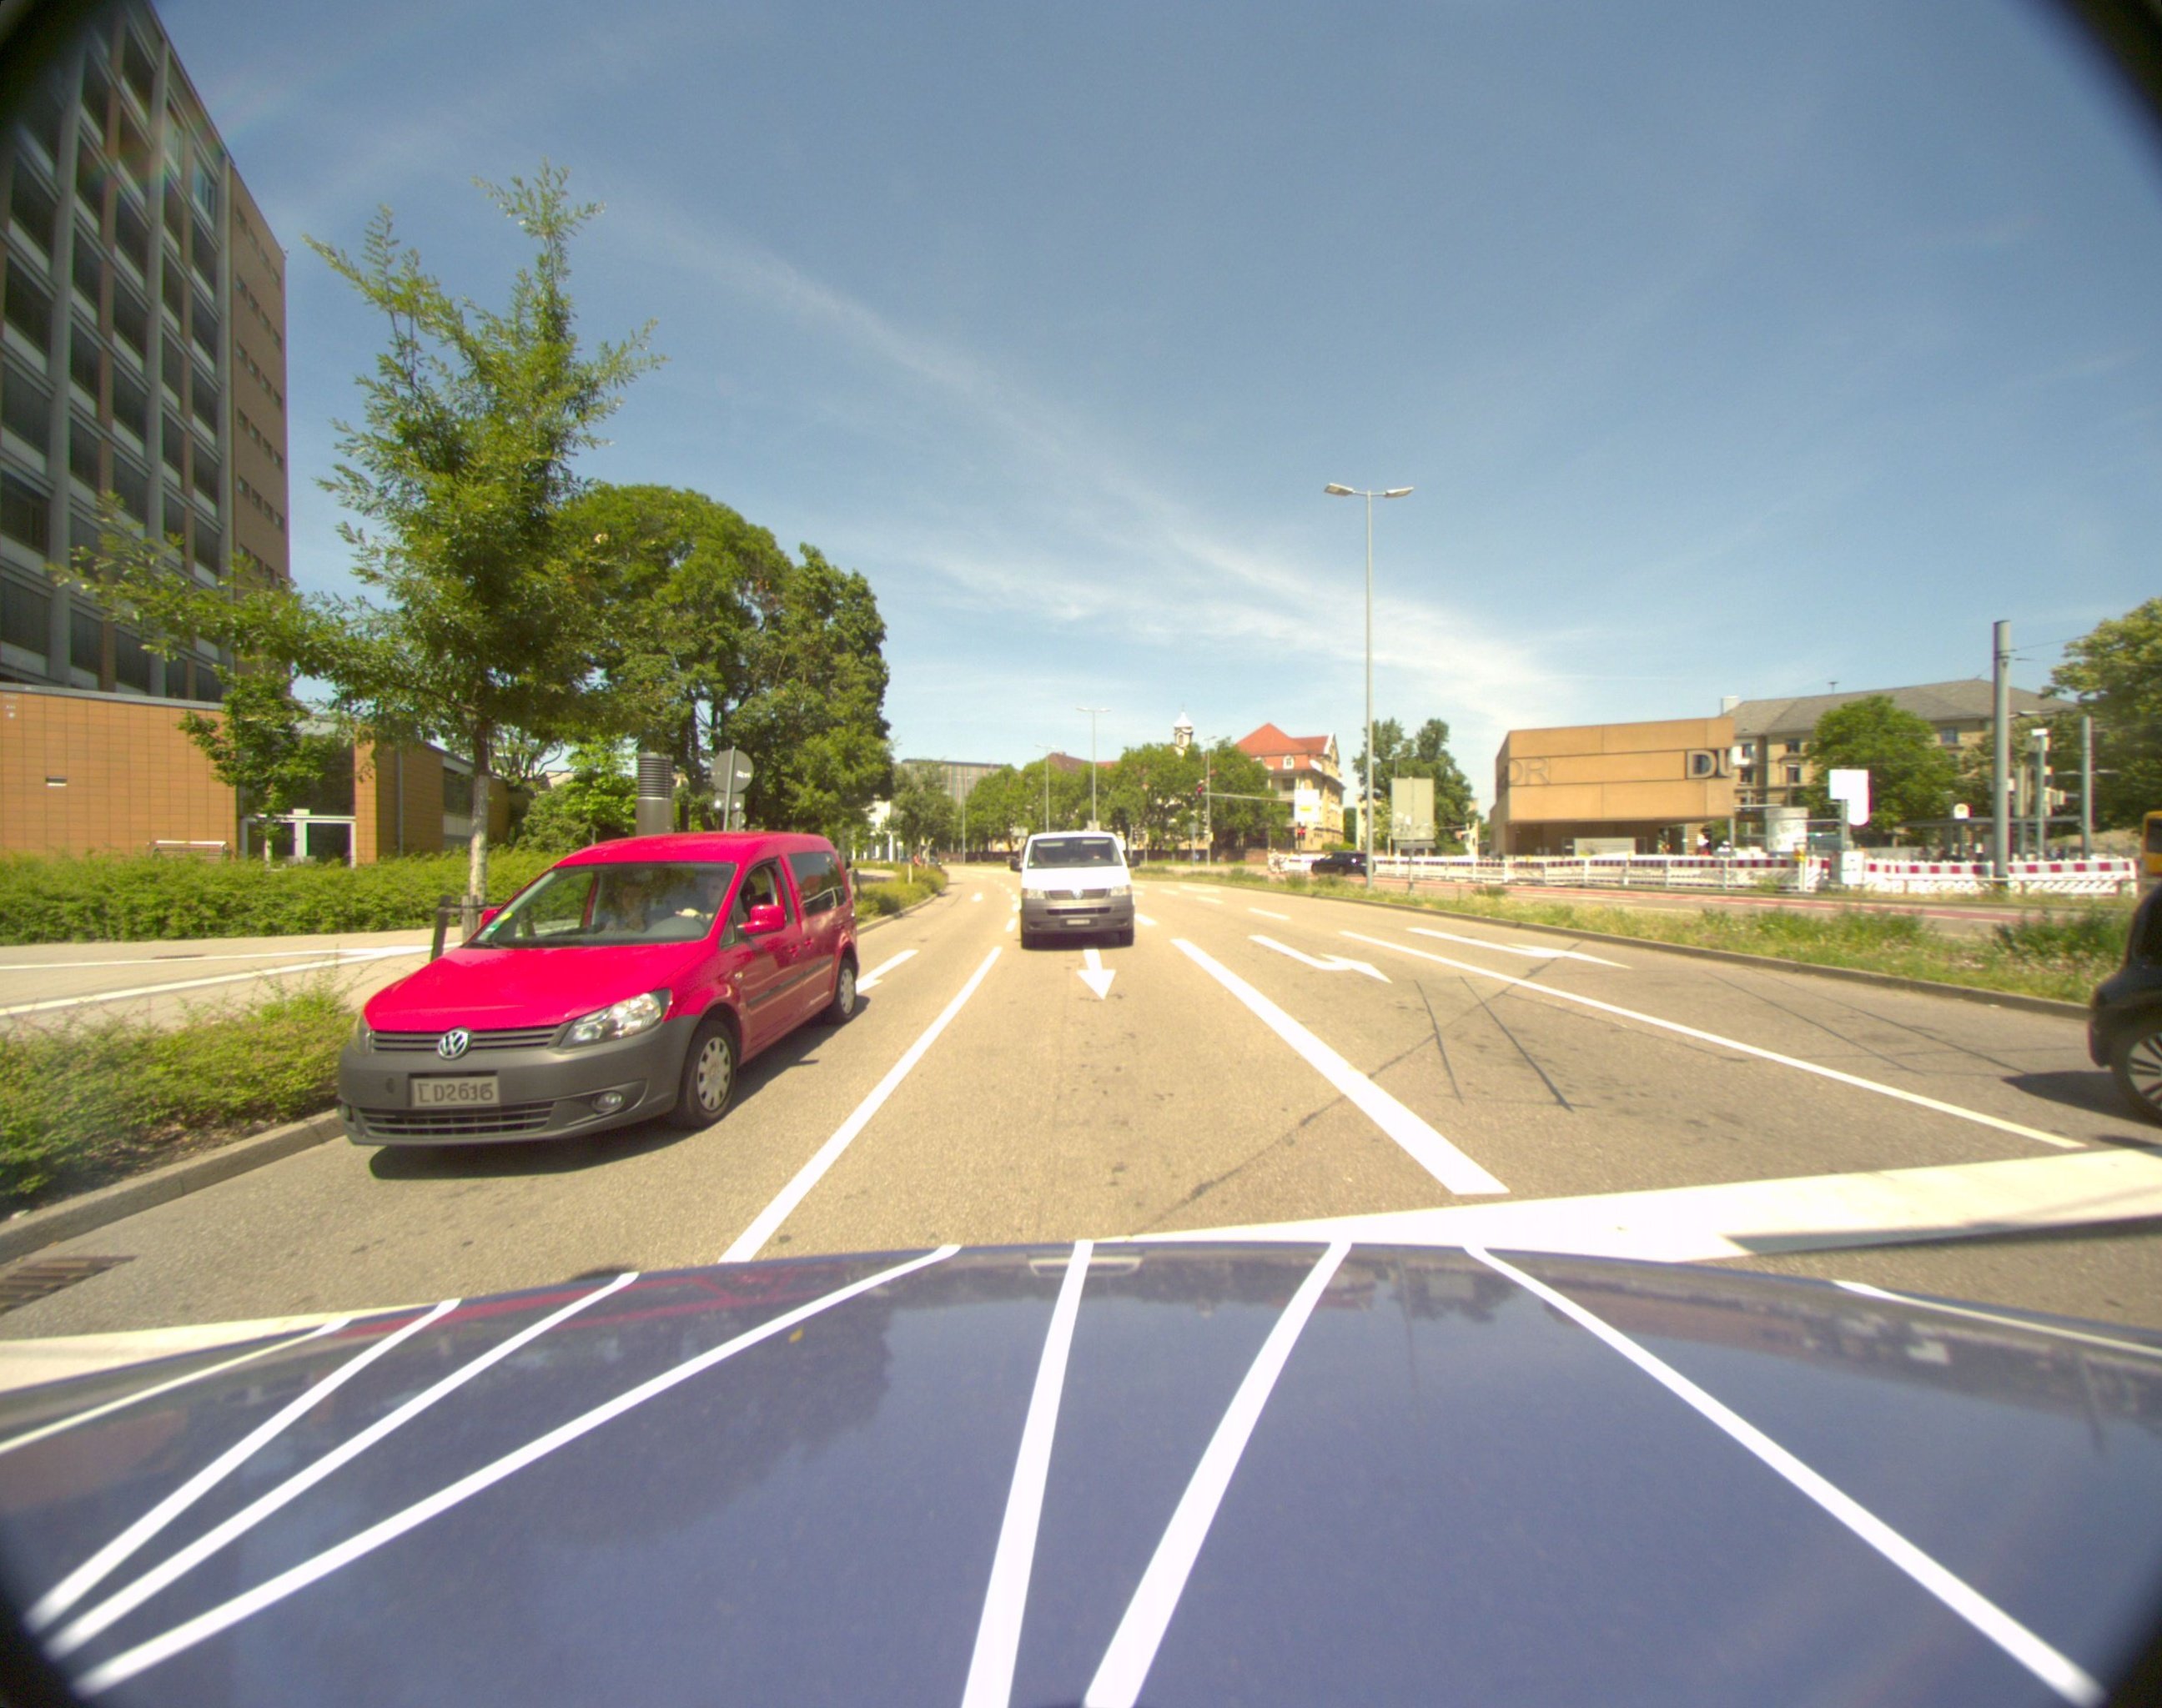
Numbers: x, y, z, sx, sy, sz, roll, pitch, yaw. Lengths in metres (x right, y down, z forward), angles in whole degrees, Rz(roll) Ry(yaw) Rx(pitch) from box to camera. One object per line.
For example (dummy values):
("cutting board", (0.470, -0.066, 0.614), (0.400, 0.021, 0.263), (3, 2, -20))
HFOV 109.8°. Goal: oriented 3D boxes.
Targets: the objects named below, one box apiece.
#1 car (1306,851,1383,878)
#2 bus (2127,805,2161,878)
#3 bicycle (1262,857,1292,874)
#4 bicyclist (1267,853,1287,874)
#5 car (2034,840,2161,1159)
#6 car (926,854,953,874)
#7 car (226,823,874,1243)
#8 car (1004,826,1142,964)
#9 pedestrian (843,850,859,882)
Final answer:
("car", (15.462, 0.589, 44.862), (2.001, 1.456, 4.840), (0, 0, -13))
("bus", (43.887, -0.493, 26.854), (2.849, 2.998, 12.243), (0, 0, 27))
("bicycle", (12.972, 0.743, 50.349), (0.879, 1.066, 2.229), (-3, 1, -16))
("bicyclist", (12.977, 0.621, 50.285), (0.587, 1.348, 1.437), (-3, 1, -16))
("car", (6.149, 0.705, 2.360), (1.748, 1.567, 3.738), (-2, 0, 2))
("car", (-14.597, 1.002, 78.342), (2.002, 2.002, 3.992), (-1, 0, -22))
("car", (-2.992, 0.797, 5.686), (1.655, 1.848, 4.545), (-1, 0, -1))
("car", (-0.158, 0.588, 13.655), (1.971, 1.958, 4.847), (-2, 1, -1))
("pedestrian", (-13.290, 0.691, 43.850), (0.728, 1.787, 0.614), (0, 1, 0))
